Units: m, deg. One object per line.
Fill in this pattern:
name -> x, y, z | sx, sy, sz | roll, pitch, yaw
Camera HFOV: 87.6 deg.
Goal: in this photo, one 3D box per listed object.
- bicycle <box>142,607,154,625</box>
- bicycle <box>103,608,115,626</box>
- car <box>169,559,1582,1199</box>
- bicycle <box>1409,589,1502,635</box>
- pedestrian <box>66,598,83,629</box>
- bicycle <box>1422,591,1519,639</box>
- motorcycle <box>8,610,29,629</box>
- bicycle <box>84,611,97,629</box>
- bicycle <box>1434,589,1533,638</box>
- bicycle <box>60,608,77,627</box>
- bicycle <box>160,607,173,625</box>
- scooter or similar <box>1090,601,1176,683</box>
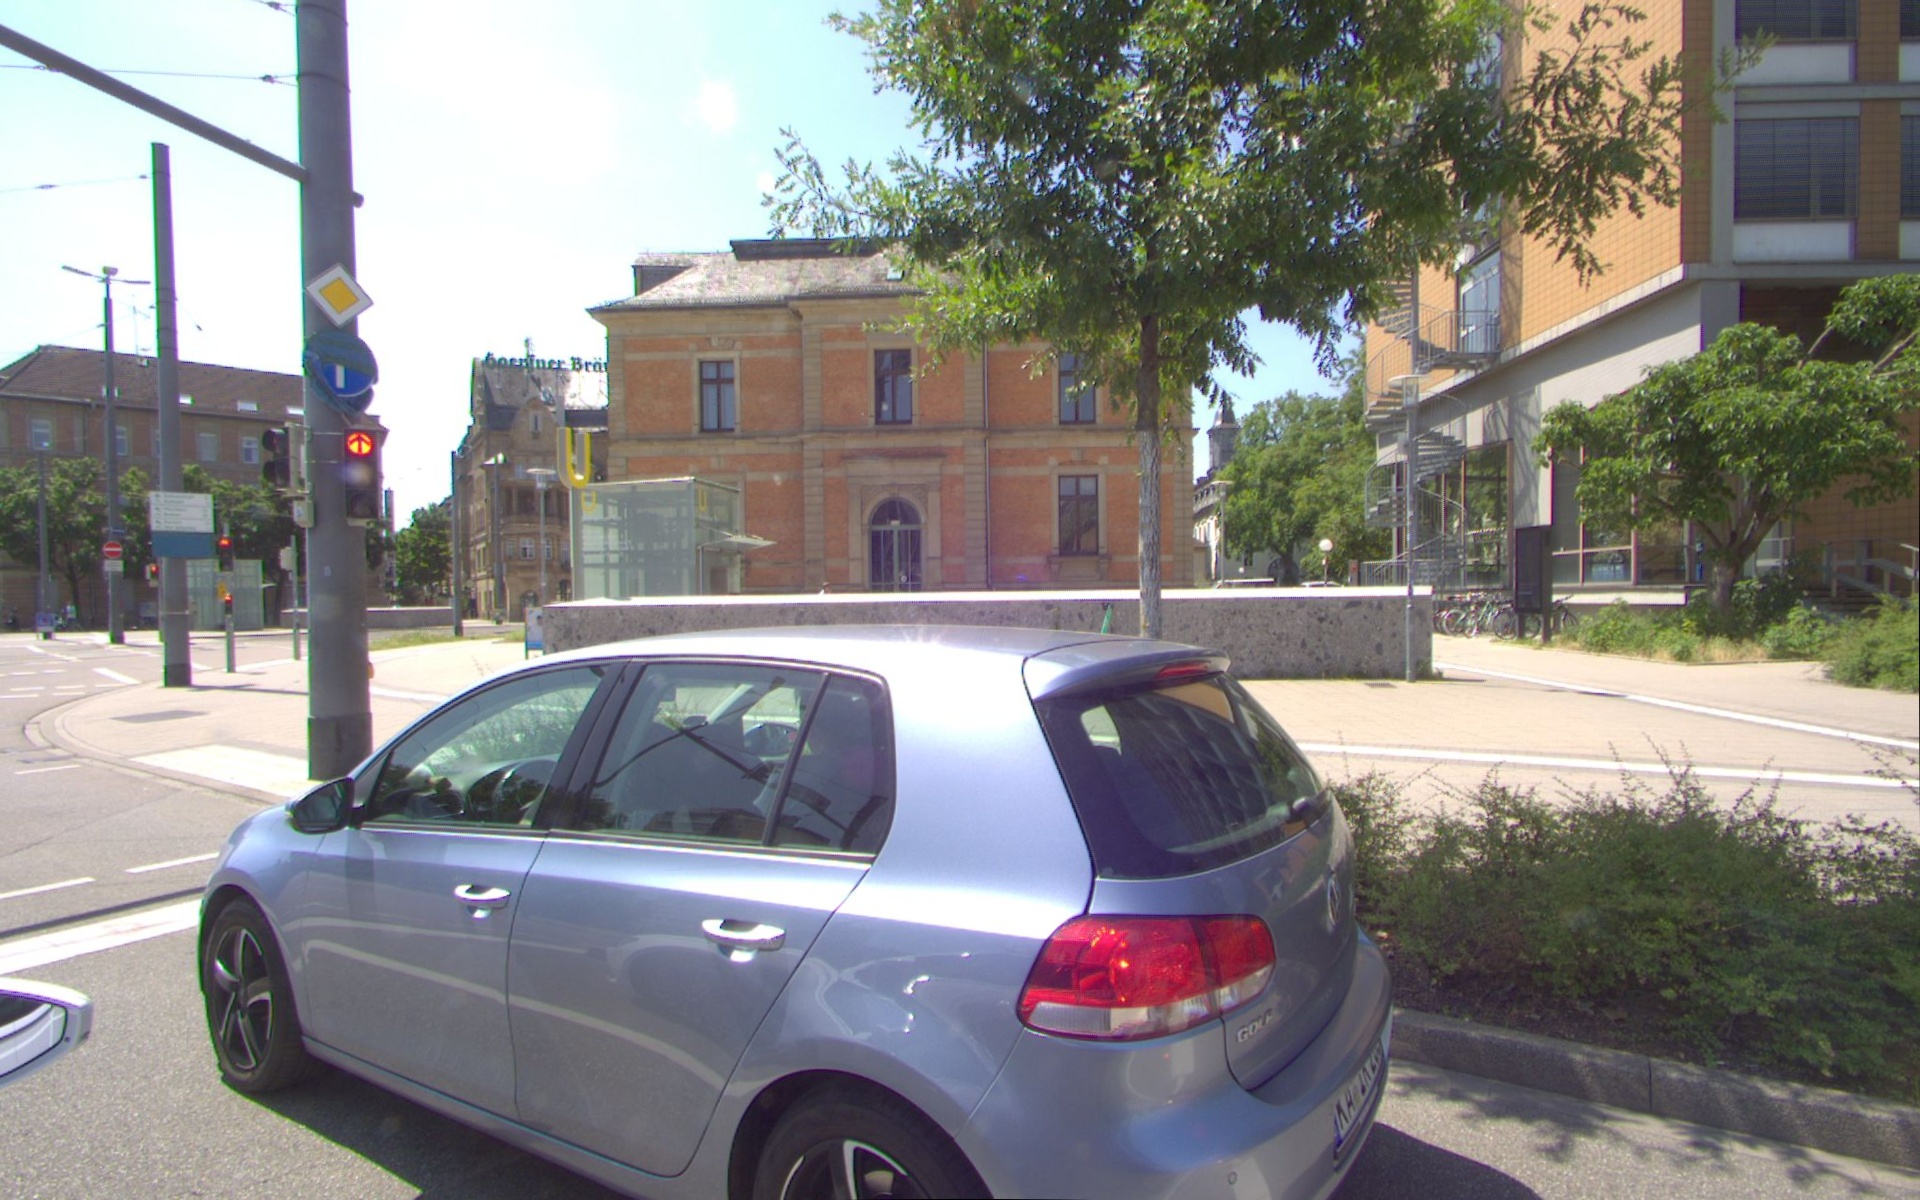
bicycle -> -52.641, 1.036, 64.894 | 0.547, 1.135, 1.854 | -1, 1, -41
bicycle -> -53.475, 1.066, 62.896 | 0.547, 1.135, 1.804 | -1, 1, -41
car -> -0.506, 0.726, 2.928 | 3.947, 1.478, 1.648 | 0, -1, 33
bicycle -> 13.486, 0.333, 27.274 | 2.175, 1.234, 0.637 | 0, -1, 5
pedestrian -> -49.498, 0.761, 55.965 | 0.629, 1.731, 0.461 | 0, 1, 21
bicycle -> 13.500, 0.404, 26.519 | 2.175, 1.234, 0.637 | 0, -1, 5
motorcycle -> -56.182, 1.149, 59.742 | 1.920, 1.089, 0.578 | 0, 1, 36
bicycle -> -54.188, 1.239, 62.395 | 0.547, 1.135, 1.802 | -1, 1, -44
bicycle -> 13.452, 0.358, 25.784 | 2.175, 1.234, 0.637 | 0, -1, 5
bicycle -> -55.267, 1.096, 62.077 | 2.069, 1.160, 0.440 | -2, -2, 39
bicycle -> -52.021, 1.028, 65.664 | 0.547, 1.135, 1.912 | -1, 1, -41
scooter or similar -> 2.555, 0.615, 14.797 | 1.227, 1.186, 0.458 | 0, 1, 13
